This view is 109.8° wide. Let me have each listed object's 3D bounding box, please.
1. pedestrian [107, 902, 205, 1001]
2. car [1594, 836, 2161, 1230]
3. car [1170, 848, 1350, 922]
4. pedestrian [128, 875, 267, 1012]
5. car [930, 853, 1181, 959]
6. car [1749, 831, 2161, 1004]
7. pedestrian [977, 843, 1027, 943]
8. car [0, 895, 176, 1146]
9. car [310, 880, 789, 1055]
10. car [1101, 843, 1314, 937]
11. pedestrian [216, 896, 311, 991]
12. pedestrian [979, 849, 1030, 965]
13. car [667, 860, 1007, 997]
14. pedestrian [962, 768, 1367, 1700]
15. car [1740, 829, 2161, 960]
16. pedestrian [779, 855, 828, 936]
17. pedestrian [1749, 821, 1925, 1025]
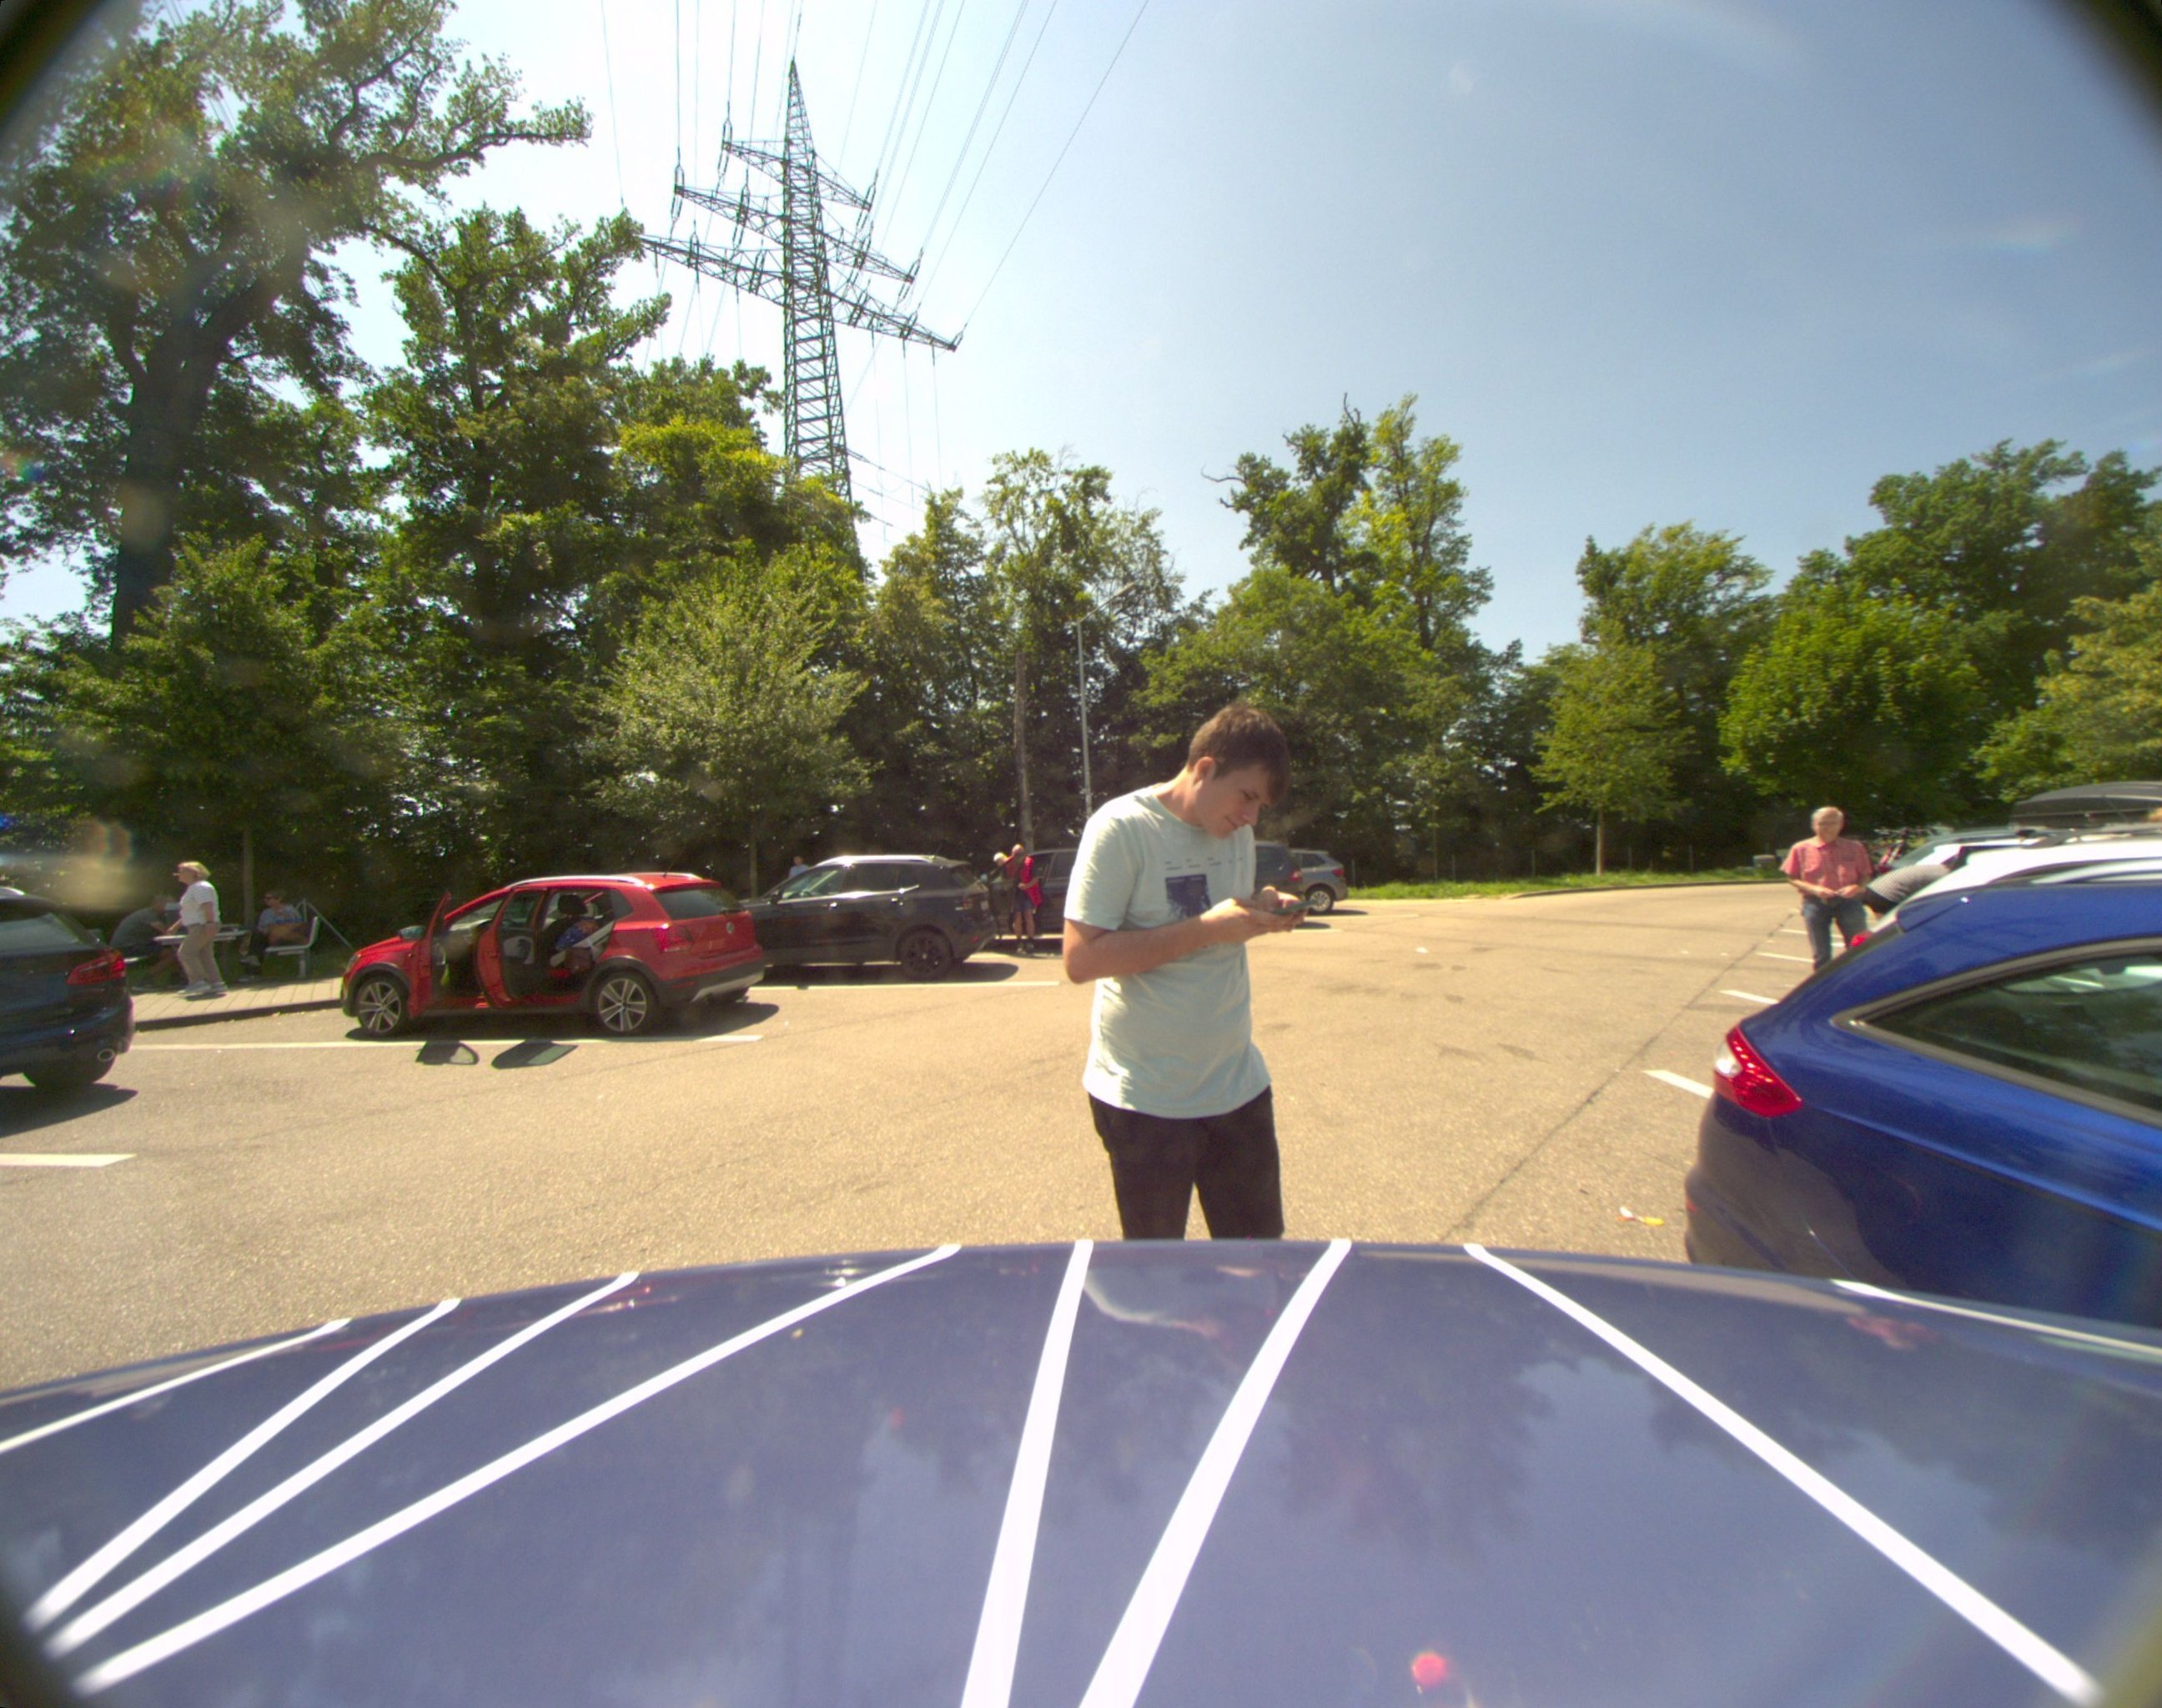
[{"bbox_3d":[-12.675,1.310,10.418,0.652,1.262,0.672,-2,0,24],"label":"pedestrian"},{"bbox_3d":[4.908,0.660,3.665,1.779,1.456,4.470,-2,-1,0],"label":"car"},{"bbox_3d":[4.171,0.718,18.202,3.964,1.577,1.781,-2,0,7],"label":"car"},{"bbox_3d":[-10.865,1.069,9.370,0.774,1.584,0.810,-2,0,13],"label":"pedestrian"},{"bbox_3d":[-0.334,0.845,12.958,3.964,1.582,1.781,-2,0,8],"label":"car"},{"bbox_3d":[10.056,0.536,8.157,1.779,1.456,4.470,-2,-1,0],"label":"car"},{"bbox_3d":[-1.535,0.739,14.718,0.682,1.854,0.713,-2,0,-30],"label":"pedestrian"},{"bbox_3d":[-8.925,1.162,5.001,4.011,1.558,1.846,-2,0,6],"label":"car"},{"bbox_3d":[-5.200,1.077,7.719,3.704,1.448,1.781,-2,0,7],"label":"car"},{"bbox_3d":[2.502,0.702,15.450,3.964,1.678,1.781,-2,0,7],"label":"car"},{"bbox_3d":[-11.831,1.275,11.007,0.828,1.287,0.672,-2,0,24],"label":"pedestrian"},{"bbox_3d":[-1.181,0.807,11.836,0.660,1.745,0.636,-2,0,1],"label":"pedestrian"},{"bbox_3d":[-3.153,0.943,10.379,3.966,1.582,1.841,-2,0,3],"label":"car"},{"bbox_3d":[0.157,0.707,1.693,0.687,1.699,0.578,-2,0,1],"label":"pedestrian"},{"bbox_3d":[12.358,0.480,10.942,1.779,1.456,4.470,-2,-1,0],"label":"car"},{"bbox_3d":[-5.662,0.826,15.532,0.715,1.584,0.809,-2,0,-7],"label":"pedestrian"},{"bbox_3d":[6.314,0.549,6.391,0.672,1.592,0.759,-2,0,1],"label":"pedestrian"}]
